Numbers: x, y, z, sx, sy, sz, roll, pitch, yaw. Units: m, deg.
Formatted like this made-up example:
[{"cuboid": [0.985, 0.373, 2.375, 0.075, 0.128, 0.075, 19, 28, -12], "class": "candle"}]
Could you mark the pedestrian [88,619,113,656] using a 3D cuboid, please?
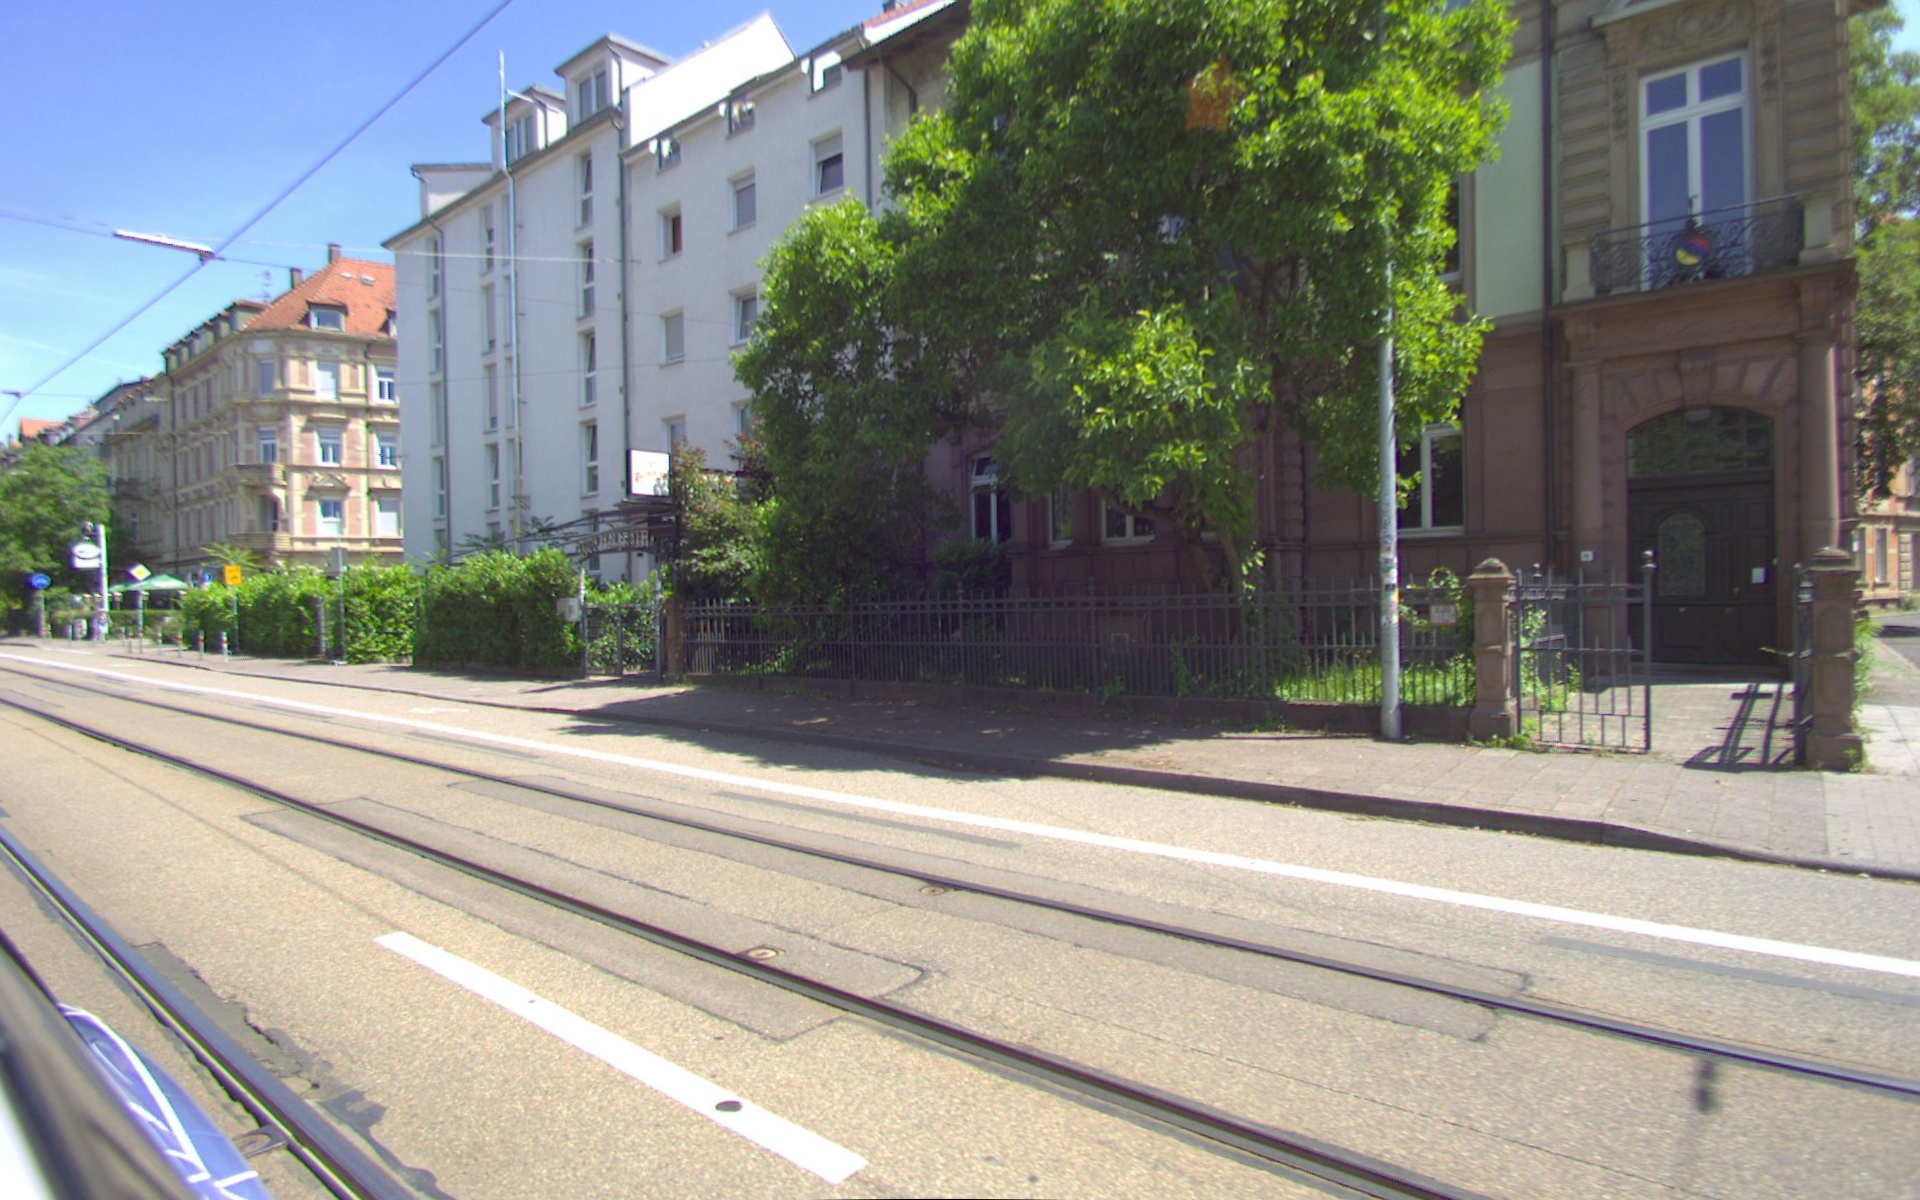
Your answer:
[{"cuboid": [-39.529, 1.718, 46.555, 0.939, 1.654, 0.732, -1, 0, 43], "class": "pedestrian"}]

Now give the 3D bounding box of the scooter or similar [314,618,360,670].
[{"cuboid": [-18.439, 1.295, 29.960, 0.596, 1.461, 0.999, 0, 2, 40], "class": "scooter or similar"}]
